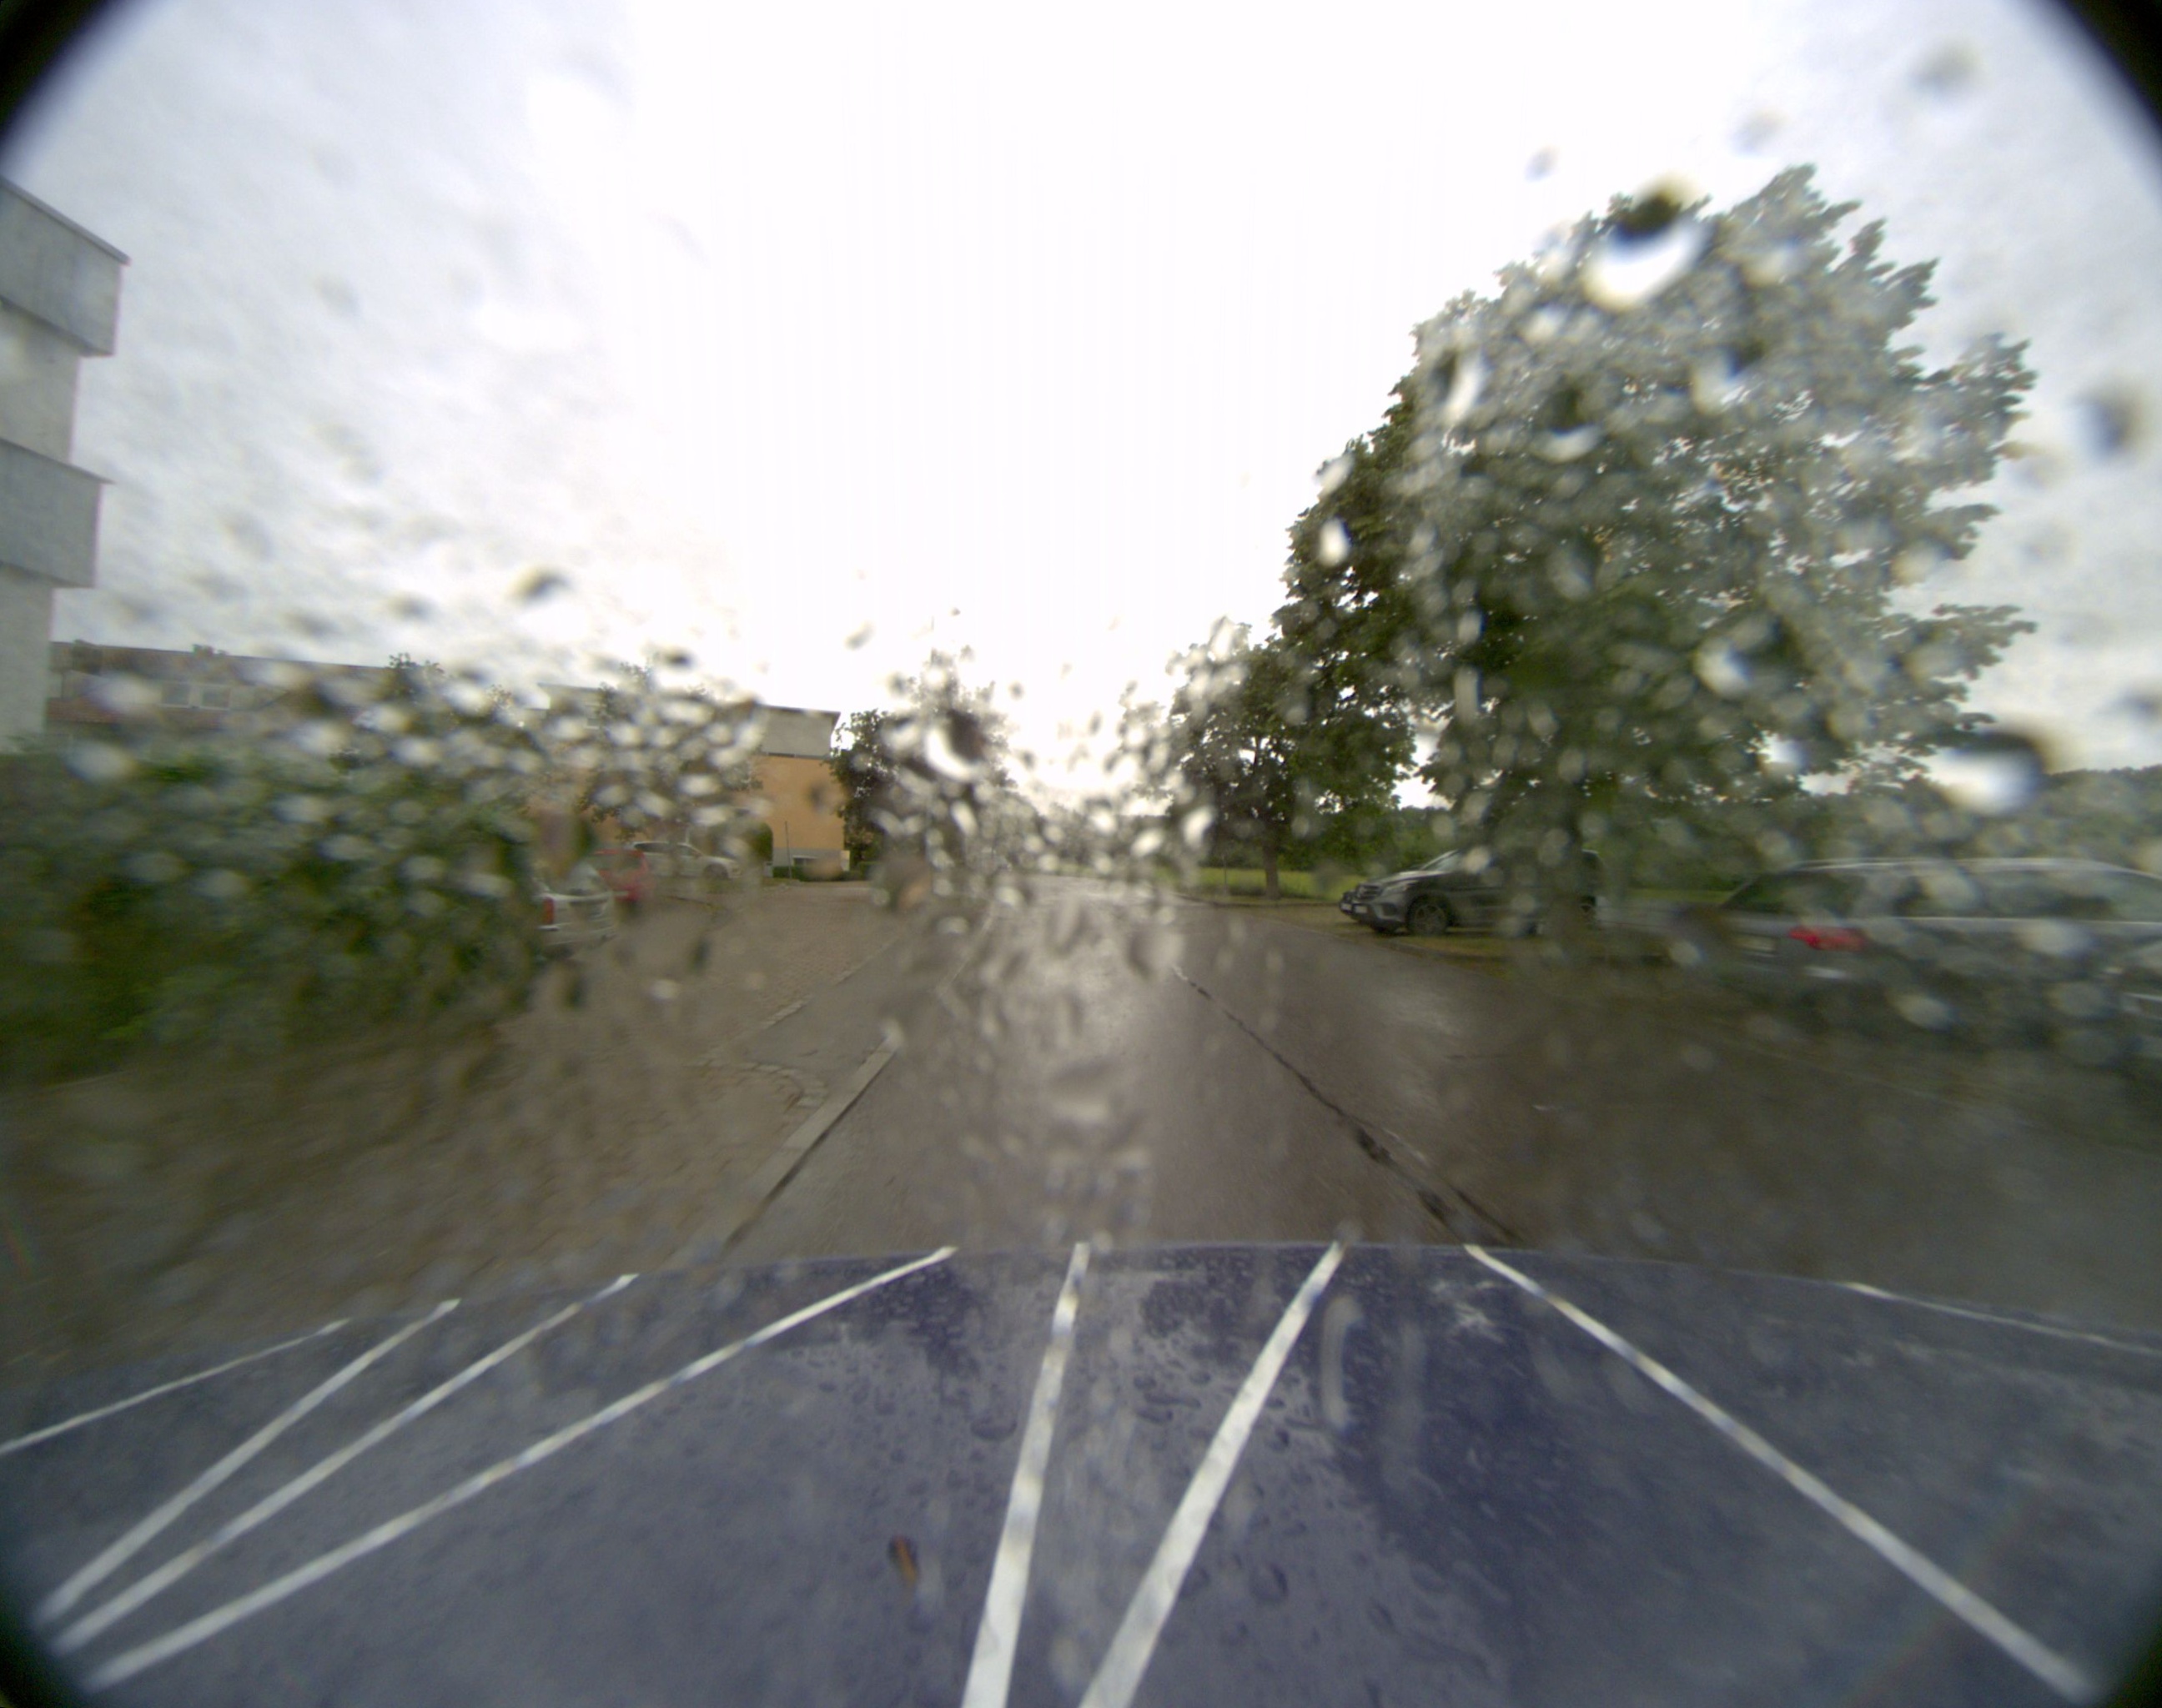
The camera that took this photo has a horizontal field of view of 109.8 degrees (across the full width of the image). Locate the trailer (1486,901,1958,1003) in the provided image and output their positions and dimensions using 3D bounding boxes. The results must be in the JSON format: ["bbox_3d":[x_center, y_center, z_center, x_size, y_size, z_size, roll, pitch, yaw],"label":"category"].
[{"bbox_3d":[7.336,1.099,9.051,3.951,0.955,2.000,0,0,0],"label":"trailer"}]

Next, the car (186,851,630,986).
[{"bbox_3d":[-8.760,0.784,10.190,4.323,1.575,1.858,1,1,1],"label":"car"}]

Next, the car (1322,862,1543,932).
[{"bbox_3d":[7.827,0.917,17.131,4.225,1.423,1.773,0,1,-6],"label":"car"}]

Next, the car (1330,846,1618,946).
[{"bbox_3d":[7.274,0.729,14.401,4.379,1.712,2.044,1,1,-2],"label":"car"}]

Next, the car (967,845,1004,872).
[{"bbox_3d":[-8.780,0.422,69.492,2.056,2.317,5.397,0,0,-21],"label":"car"}]

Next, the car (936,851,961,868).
[{"bbox_3d":[-14.593,0.589,83.505,1.828,1.775,3.810,0,1,-25],"label":"car"}]

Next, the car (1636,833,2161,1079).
[{"bbox_3d":[7.470,0.718,6.391,4.083,1.712,2.026,-1,1,3],"label":"car"}]

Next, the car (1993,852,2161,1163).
[{"bbox_3d":[7.877,0.756,3.692,4.629,1.580,1.806,-1,1,2],"label":"car"}]

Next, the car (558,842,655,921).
[{"bbox_3d":[-11.866,0.597,19.107,1.862,1.576,4.314,0,3,-31],"label":"car"}]

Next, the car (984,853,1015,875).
[{"bbox_3d":[-6.883,0.804,63.788,1.818,1.717,4.645,1,1,-16],"label":"car"}]

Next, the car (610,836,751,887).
[{"bbox_3d":[-16.026,0.316,30.675,4.719,1.804,1.943,2,0,-19],"label":"car"}]
